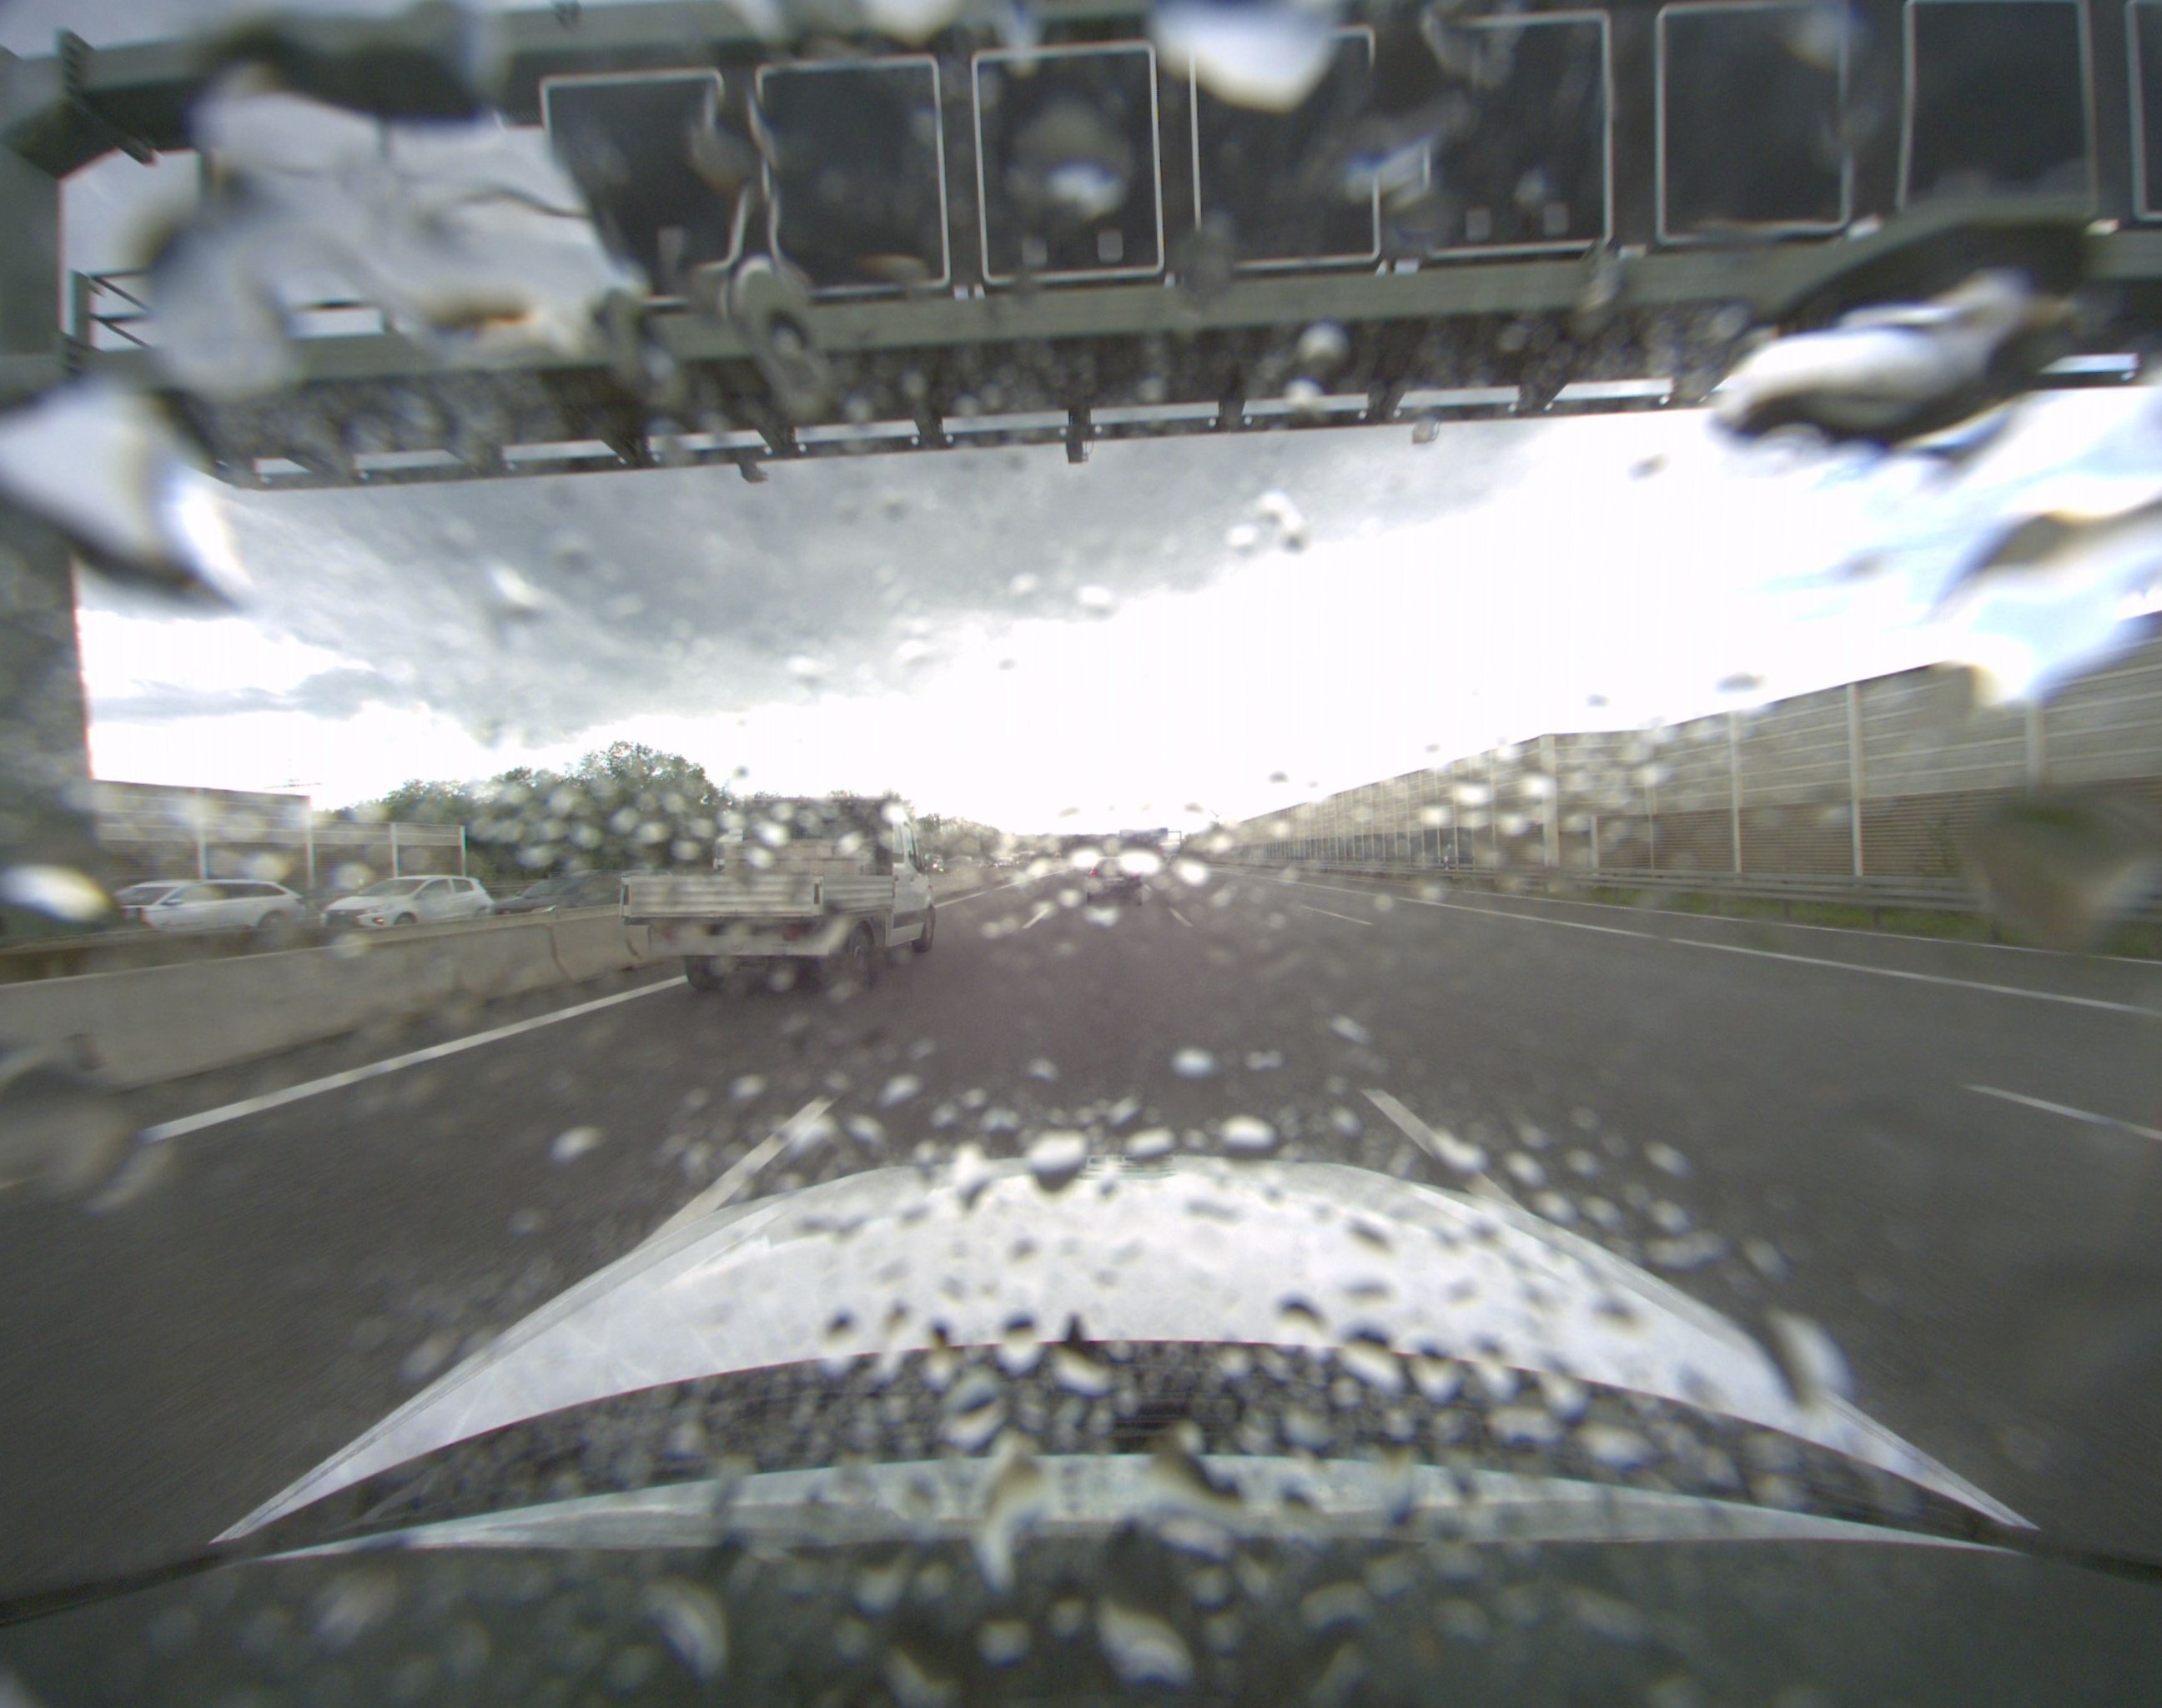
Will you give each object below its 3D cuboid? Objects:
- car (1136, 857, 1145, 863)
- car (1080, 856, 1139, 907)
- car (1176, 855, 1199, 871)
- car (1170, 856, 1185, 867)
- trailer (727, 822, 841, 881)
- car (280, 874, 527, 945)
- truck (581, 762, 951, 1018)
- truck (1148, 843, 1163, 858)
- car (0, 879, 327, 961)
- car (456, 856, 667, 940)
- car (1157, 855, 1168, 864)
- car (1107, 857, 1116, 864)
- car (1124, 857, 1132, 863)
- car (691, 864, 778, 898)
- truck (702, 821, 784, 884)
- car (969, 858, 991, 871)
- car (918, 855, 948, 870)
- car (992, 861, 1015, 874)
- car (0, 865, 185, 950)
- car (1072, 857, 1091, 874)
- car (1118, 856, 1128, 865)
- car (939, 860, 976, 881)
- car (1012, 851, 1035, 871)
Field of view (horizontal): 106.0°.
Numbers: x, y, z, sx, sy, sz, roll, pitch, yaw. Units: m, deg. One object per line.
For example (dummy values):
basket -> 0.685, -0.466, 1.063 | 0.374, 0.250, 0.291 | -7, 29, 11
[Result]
car -> 14.494, 1.470, 199.332 | 1.960, 1.561, 4.436 | -2, -1, 3
car -> 0.910, 0.809, 25.926 | 1.711, 1.417, 4.280 | -1, 0, 2
car -> 10.455, 0.884, 80.400 | 1.941, 1.418, 4.236 | -2, -1, 4
car -> 13.719, 1.088, 116.449 | 1.874, 1.542, 4.437 | -2, -1, 4
trailer -> -22.812, -0.172, 63.846 | 2.920, 4.031, 14.463 | -1, 0, 3
car -> -17.275, 1.328, 21.214 | 2.052, 1.491, 5.001 | -1, 0, 3
truck -> -3.620, 0.329, 11.465 | 2.299, 2.439, 7.149 | -1, 0, 1
truck -> 18.350, -0.875, 201.303 | 3.139, 3.601, 12.708 | 0, 0, 3
car -> -20.929, 1.402, 18.882 | 2.052, 1.491, 5.001 | -1, 0, 3
car -> -13.169, 1.012, 21.151 | 2.052, 1.880, 5.001 | -1, 0, 3
car -> 15.551, 1.117, 155.082 | 1.875, 1.561, 4.436 | -2, -1, 3
car -> 7.030, 1.610, 188.622 | 1.960, 1.561, 4.436 | -2, -1, 3
car -> 12.927, 1.595, 224.733 | 1.960, 1.561, 4.434 | -2, -1, 2
car -> -16.453, 1.240, 38.948 | 2.052, 1.416, 4.526 | -1, 0, 3
truck -> -23.187, -0.098, 56.146 | 2.960, 4.034, 5.730 | -1, 0, 3
car -> -12.970, 1.311, 105.056 | 2.052, 1.535, 4.522 | -1, 0, 3
car -> -17.305, 0.992, 95.291 | 2.052, 1.645, 6.125 | -1, 0, 3
car -> -9.533, 1.673, 100.586 | 2.052, 1.535, 5.474 | -1, 0, 3
car -> -25.357, 1.254, 19.517 | 2.052, 1.880, 5.001 | -1, 0, 3
car -> 0.102, 1.118, 83.094 | 1.711, 1.624, 4.280 | -1, 0, 2
car -> 8.306, 1.313, 161.405 | 1.960, 1.561, 4.436 | -2, -1, 3
car -> -10.599, 1.370, 70.313 | 2.052, 1.645, 5.384 | -1, 0, 3
car -> -8.804, 1.037, 124.661 | 2.221, 2.749, 9.174 | -1, 1, 4
